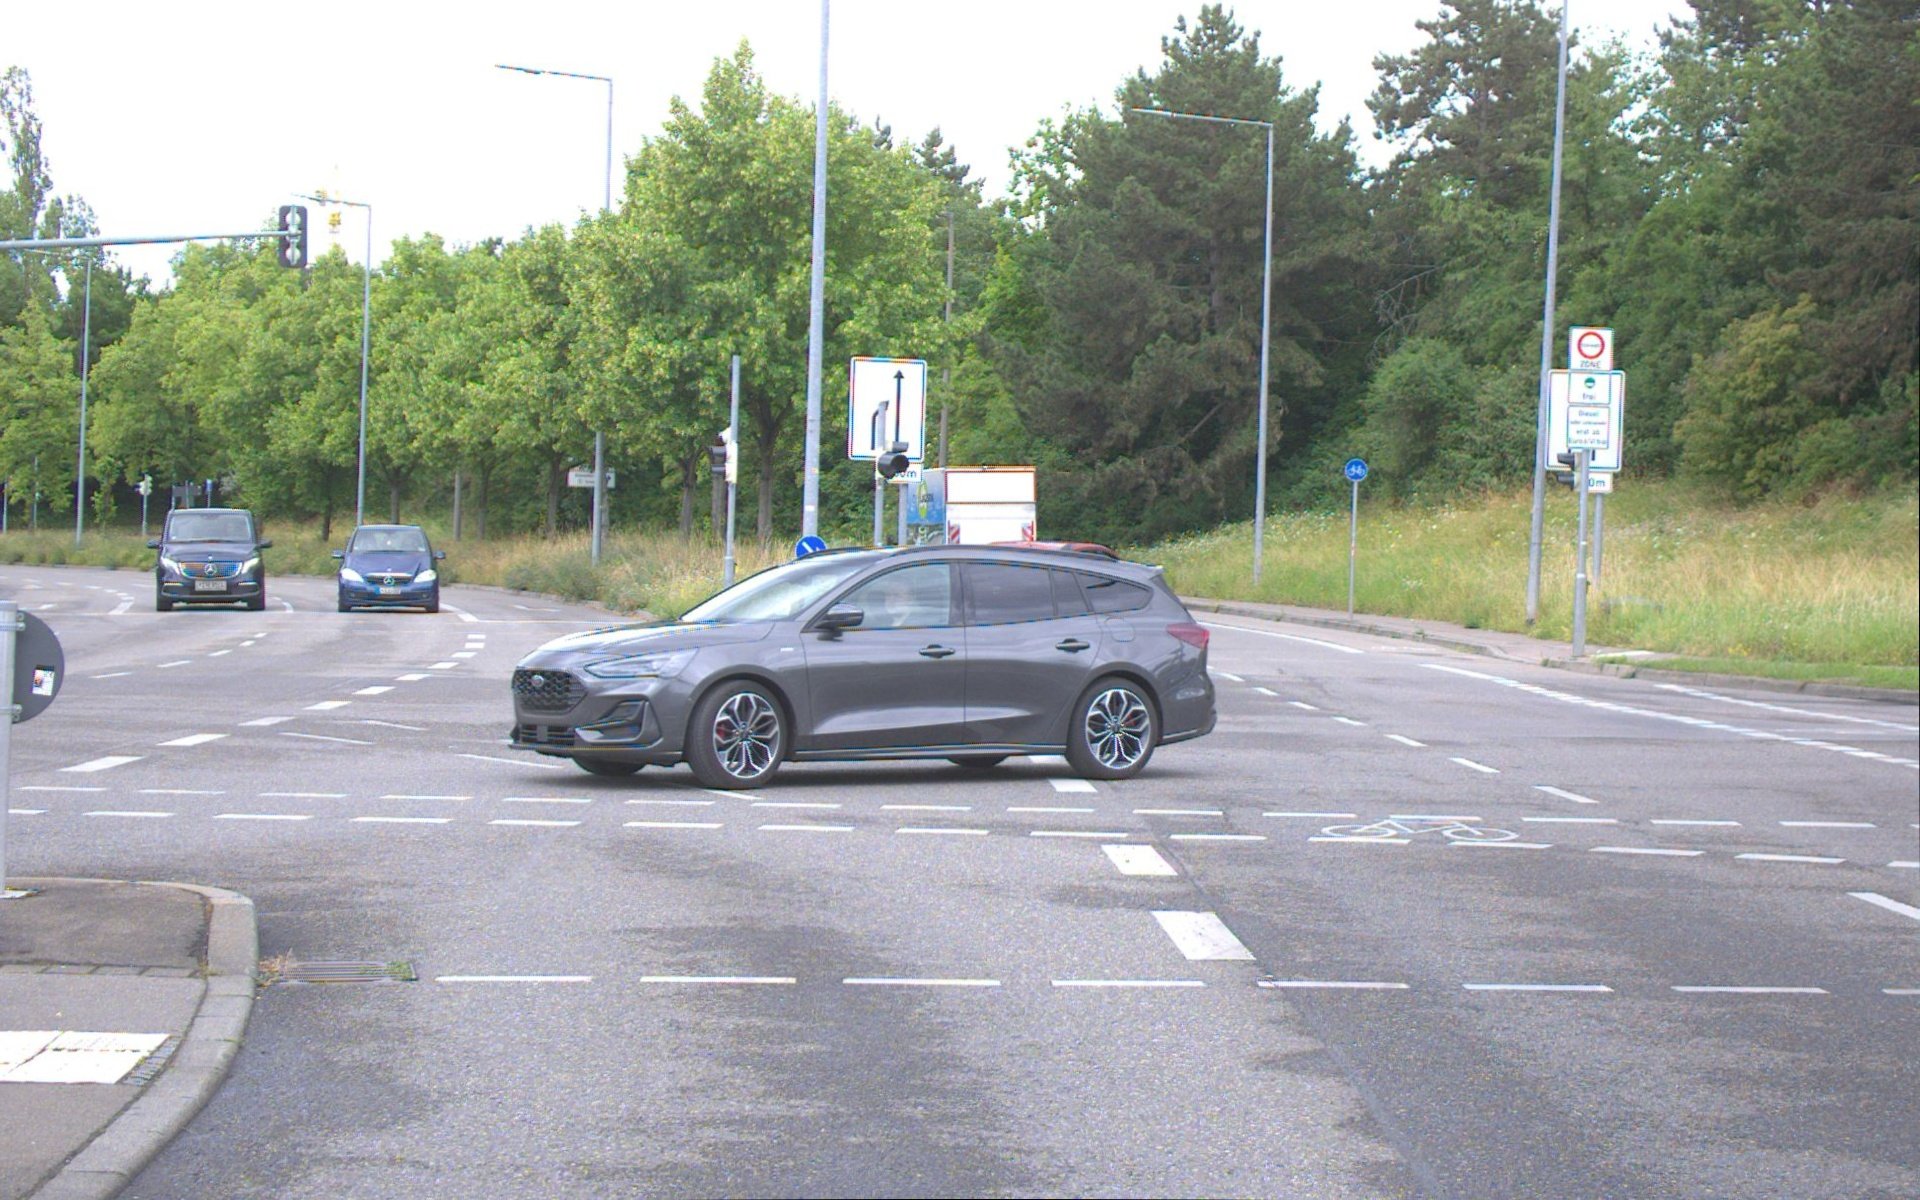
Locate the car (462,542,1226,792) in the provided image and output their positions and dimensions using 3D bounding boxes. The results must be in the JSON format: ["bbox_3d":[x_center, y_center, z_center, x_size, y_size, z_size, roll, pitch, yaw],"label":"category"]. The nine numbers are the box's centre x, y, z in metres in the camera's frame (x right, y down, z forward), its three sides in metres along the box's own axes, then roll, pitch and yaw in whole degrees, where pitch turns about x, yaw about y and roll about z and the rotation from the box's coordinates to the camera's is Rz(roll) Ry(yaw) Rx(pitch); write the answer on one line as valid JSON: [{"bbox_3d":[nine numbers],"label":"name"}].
[{"bbox_3d":[-0.685,0.385,21.520,4.418,1.419,1.876,0,1,-32],"label":"car"}]

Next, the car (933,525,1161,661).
[{"bbox_3d":[1.143,-0.097,43.080,1.786,1.598,3.884,1,1,18],"label":"car"}]

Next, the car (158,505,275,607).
[{"bbox_3d":[-13.667,-0.824,63.437,1.887,1.806,5.094,0,1,-10],"label":"car"}]

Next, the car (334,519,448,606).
[{"bbox_3d":[-10.230,-0.674,61.971,1.735,1.503,3.661,1,1,-5],"label":"car"}]

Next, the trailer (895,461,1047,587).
[{"bbox_3d":[0.211,-1.878,86.266,2.745,3.002,6.089,1,1,-10],"label":"trailer"}]
